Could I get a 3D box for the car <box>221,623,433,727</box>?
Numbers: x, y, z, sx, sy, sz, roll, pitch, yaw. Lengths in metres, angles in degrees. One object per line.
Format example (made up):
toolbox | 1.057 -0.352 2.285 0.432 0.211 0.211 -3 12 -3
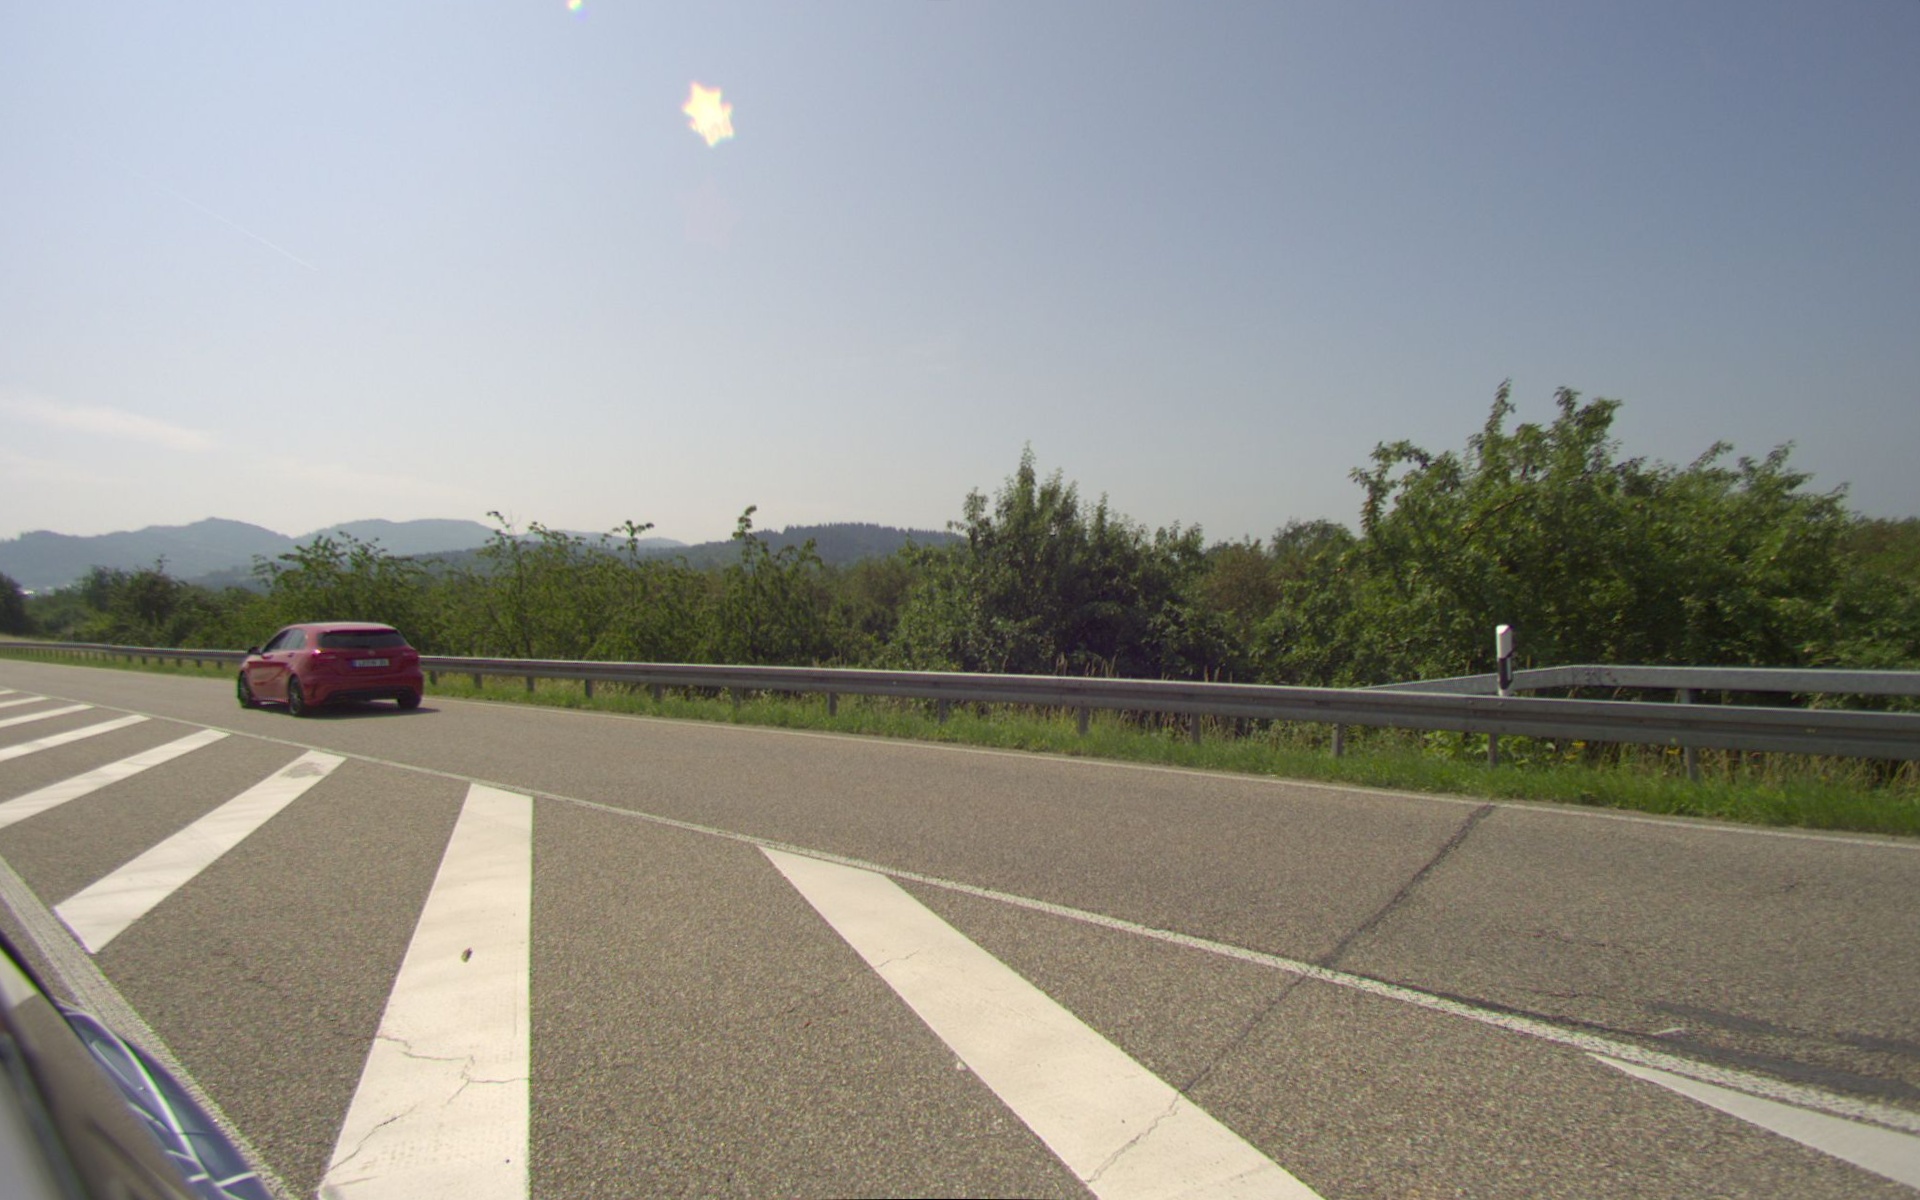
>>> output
car | -10.646 1.150 16.891 4.493 1.460 1.797 -1 0 41
